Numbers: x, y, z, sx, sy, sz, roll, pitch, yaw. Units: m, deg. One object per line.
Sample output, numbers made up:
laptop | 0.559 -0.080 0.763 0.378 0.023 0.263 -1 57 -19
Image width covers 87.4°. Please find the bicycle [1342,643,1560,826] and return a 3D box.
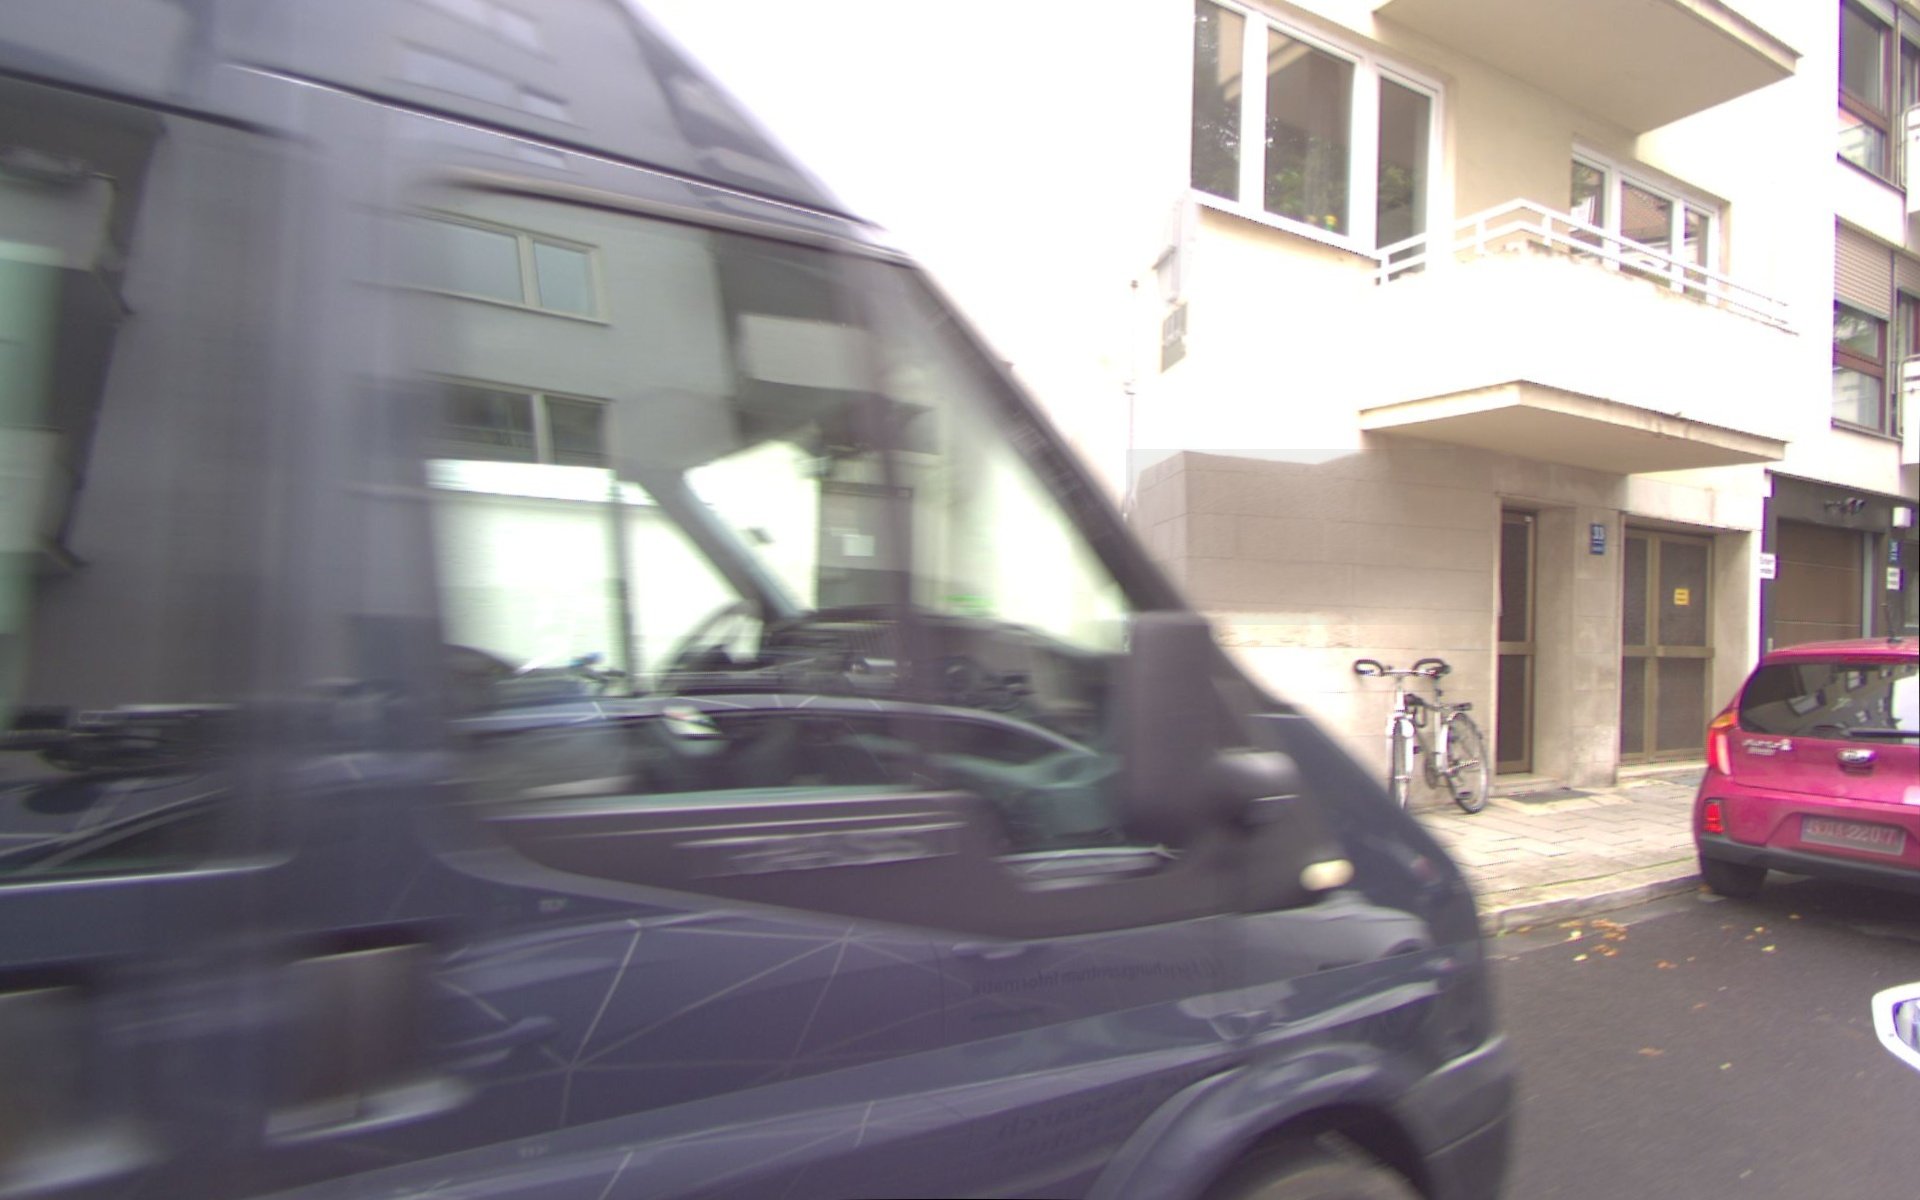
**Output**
bicycle | 3.513 0.901 7.132 1.739 1.164 0.465 2 0 -29

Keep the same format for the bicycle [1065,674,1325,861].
bicycle | 1.407 0.927 5.913 1.573 0.945 0.487 2 -1 -31

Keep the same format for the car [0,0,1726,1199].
car | -1.499 0.347 1.345 5.323 2.308 2.010 2 -3 -28

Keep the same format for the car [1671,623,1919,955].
car | 5.891 0.931 5.771 3.666 1.516 1.611 2 -1 -31
